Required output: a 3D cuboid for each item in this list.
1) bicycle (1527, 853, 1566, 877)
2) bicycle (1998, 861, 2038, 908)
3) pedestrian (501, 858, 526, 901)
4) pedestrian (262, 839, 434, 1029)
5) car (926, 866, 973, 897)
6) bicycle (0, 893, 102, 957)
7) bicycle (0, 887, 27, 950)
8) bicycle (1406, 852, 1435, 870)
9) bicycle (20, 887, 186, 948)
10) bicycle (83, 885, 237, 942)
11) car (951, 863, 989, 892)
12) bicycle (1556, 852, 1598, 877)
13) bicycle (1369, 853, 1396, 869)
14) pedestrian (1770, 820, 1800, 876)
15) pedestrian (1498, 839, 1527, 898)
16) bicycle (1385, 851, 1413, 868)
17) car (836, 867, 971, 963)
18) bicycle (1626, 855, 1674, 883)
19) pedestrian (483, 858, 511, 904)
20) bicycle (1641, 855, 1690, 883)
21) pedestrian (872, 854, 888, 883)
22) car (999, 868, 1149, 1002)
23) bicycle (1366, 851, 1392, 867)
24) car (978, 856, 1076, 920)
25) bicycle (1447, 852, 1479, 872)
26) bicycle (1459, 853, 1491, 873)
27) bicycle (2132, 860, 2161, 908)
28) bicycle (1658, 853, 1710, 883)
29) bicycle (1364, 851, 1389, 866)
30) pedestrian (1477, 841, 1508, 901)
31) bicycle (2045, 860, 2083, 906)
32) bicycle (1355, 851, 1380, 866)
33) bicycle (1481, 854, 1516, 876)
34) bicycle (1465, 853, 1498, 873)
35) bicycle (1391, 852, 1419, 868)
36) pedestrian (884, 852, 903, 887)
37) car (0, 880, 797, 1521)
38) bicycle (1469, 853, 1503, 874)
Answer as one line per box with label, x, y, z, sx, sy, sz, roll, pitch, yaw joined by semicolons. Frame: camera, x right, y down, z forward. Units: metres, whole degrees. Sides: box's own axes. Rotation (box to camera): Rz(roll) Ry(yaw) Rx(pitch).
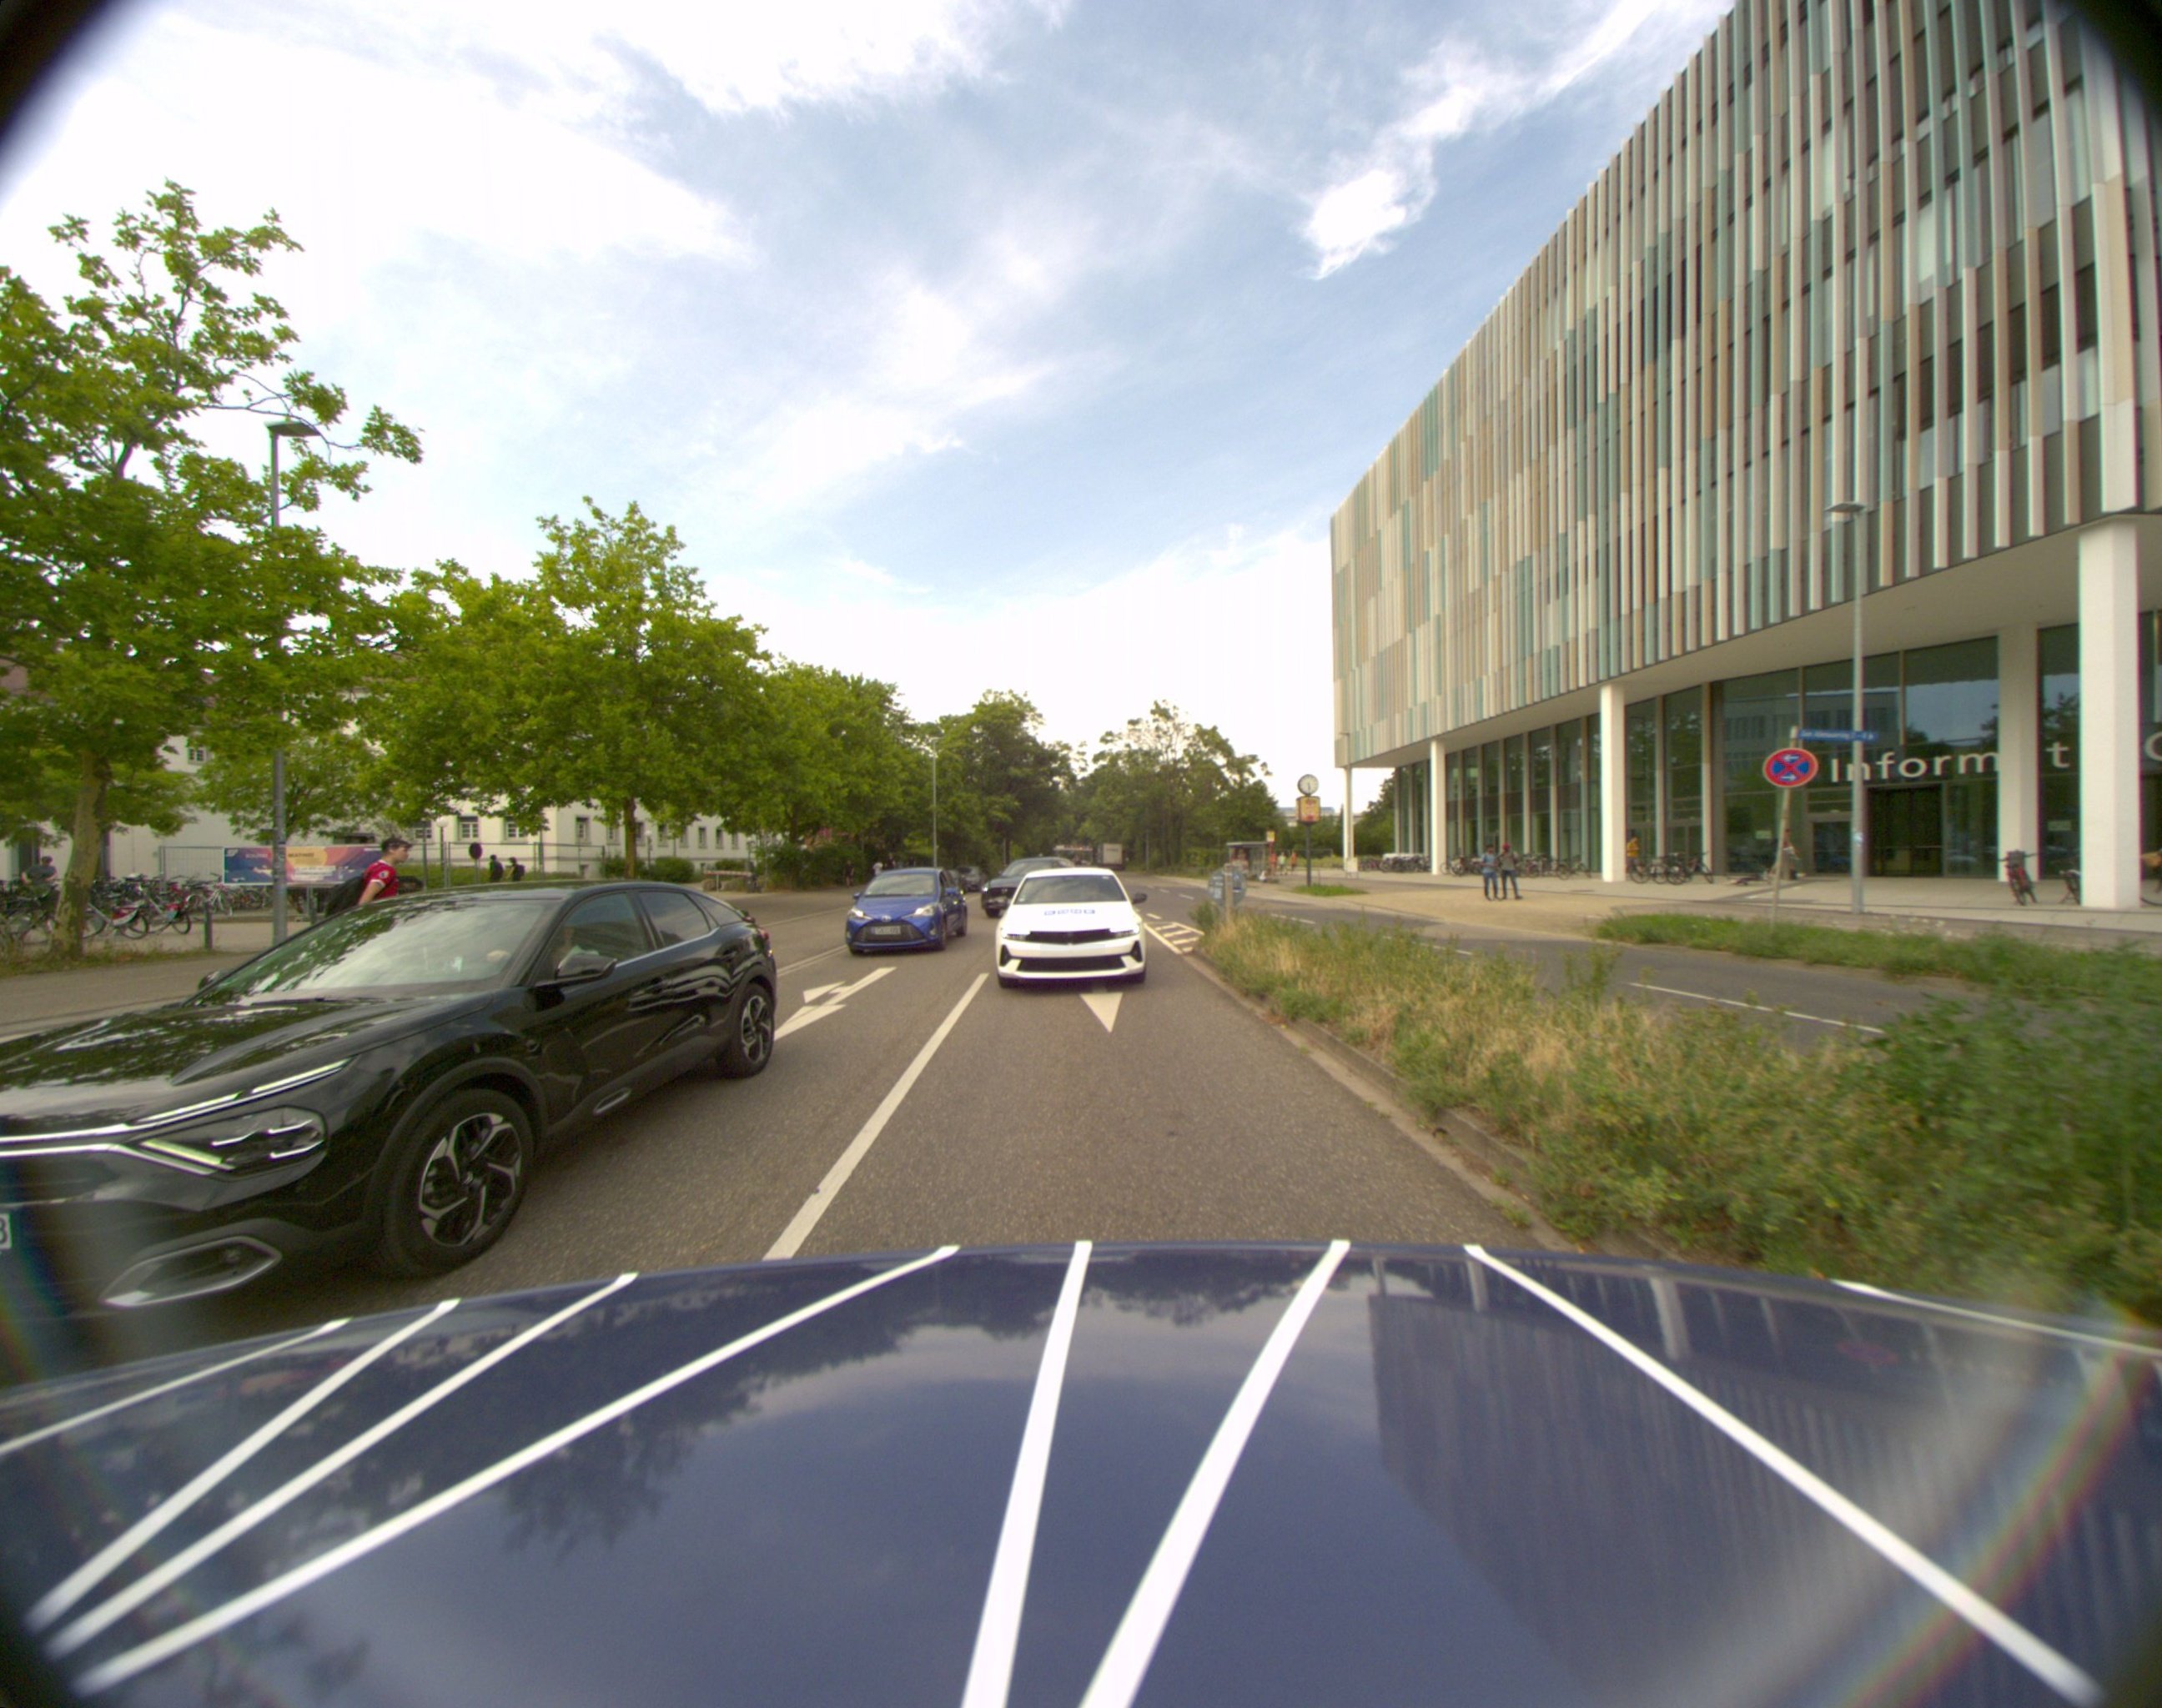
bicycle;21.639;0.509;35.346;1.582;1.017;0.389;-3;1;-5
bicycle;21.178;0.676;17.171;1.613;0.932;0.393;-3;1;-33
pedestrian;-23.614;1.044;31.602;0.530;1.742;0.594;-1;1;4
pedestrian;-7.626;0.782;7.974;0.727;1.843;1.064;-1;1;-2
car;-6.525;1.343;37.937;1.703;1.361;3.831;-1;0;-1
bicycle;-20.679;1.377;14.727;2.472;1.136;0.718;-1;1;1
bicycle;-20.871;1.207;13.794;2.472;1.136;0.718;-1;1;1
bicycle;21.608;0.438;48.361;1.703;1.017;0.389;-3;1;-5
bicycle;-20.055;1.293;15.609;2.472;1.136;0.718;-1;1;1
bicycle;-19.977;1.280;16.515;2.472;1.136;0.718;-1;1;1
car;-6.182;1.296;42.664;1.606;1.454;4.017;-1;0;-1
bicycle;21.678;0.458;33.212;1.582;1.017;0.389;-3;1;-5
bicycle;21.151;0.468;53.286;1.703;1.017;0.434;-3;1;-5
pedestrian;25.816;-0.203;27.875;0.512;2.031;0.624;-1;0;2
pedestrian;13.477;0.447;23.739;0.512;1.826;0.624;-1;0;-1
bicycle;21.295;0.378;50.850;1.703;1.017;0.434;-3;1;-5
car;-3.211;1.036;14.472;1.703;1.485;3.831;-1;0;-1
bicycle;21.214;0.550;28.330;1.546;0.932;0.389;-3;1;-5
pedestrian;-22.541;1.024;29.331;0.586;1.729;0.594;-1;1;1
bicycle;21.273;0.555;27.664;1.546;0.932;0.394;-3;1;-5
pedestrian;-11.001;0.790;41.647;0.646;1.556;0.804;-1;1;-1
car;-0.113;0.996;11.300;1.744;1.430;4.781;-1;0;-1
bicycle;21.369;0.367;54.481;1.703;1.017;0.434;-3;1;-5
car;-1.469;0.929;22.650;1.903;1.639;4.648;-1;0;9
bicycle;21.211;0.421;42.147;1.582;1.017;0.389;-3;1;-5
bicycle;21.281;0.494;41.041;1.582;1.017;0.389;-3;1;-5
bicycle;22.128;0.620;15.400;0.393;0.932;1.601;-2;1;33
bicycle;21.297;0.495;26.839;1.546;0.989;0.399;-3;1;-4
bicycle;21.532;0.352;55.360;1.703;1.017;0.434;-3;1;-5
pedestrian;12.863;0.536;23.747;0.512;1.826;0.772;-1;0;-1
bicycle;22.379;0.642;17.299;1.600;0.932;0.393;-3;1;-33
bicycle;21.430;0.342;56.841;1.703;1.017;0.434;-3;1;-5
bicycle;21.012;0.555;38.248;1.582;1.017;0.389;-3;1;-5
bicycle;21.332;0.472;40.498;1.582;1.017;0.389;-3;1;-5
bicycle;21.323;0.392;49.999;1.703;1.017;0.434;-3;1;-5
pedestrian;-10.264;0.851;41.645;0.798;1.922;0.760;-1;1;-1
car;-3.315;1.023;4.115;1.804;1.547;4.176;-2;0;2
bicycle;21.291;0.513;39.933;1.582;1.017;0.389;-3;1;-5
